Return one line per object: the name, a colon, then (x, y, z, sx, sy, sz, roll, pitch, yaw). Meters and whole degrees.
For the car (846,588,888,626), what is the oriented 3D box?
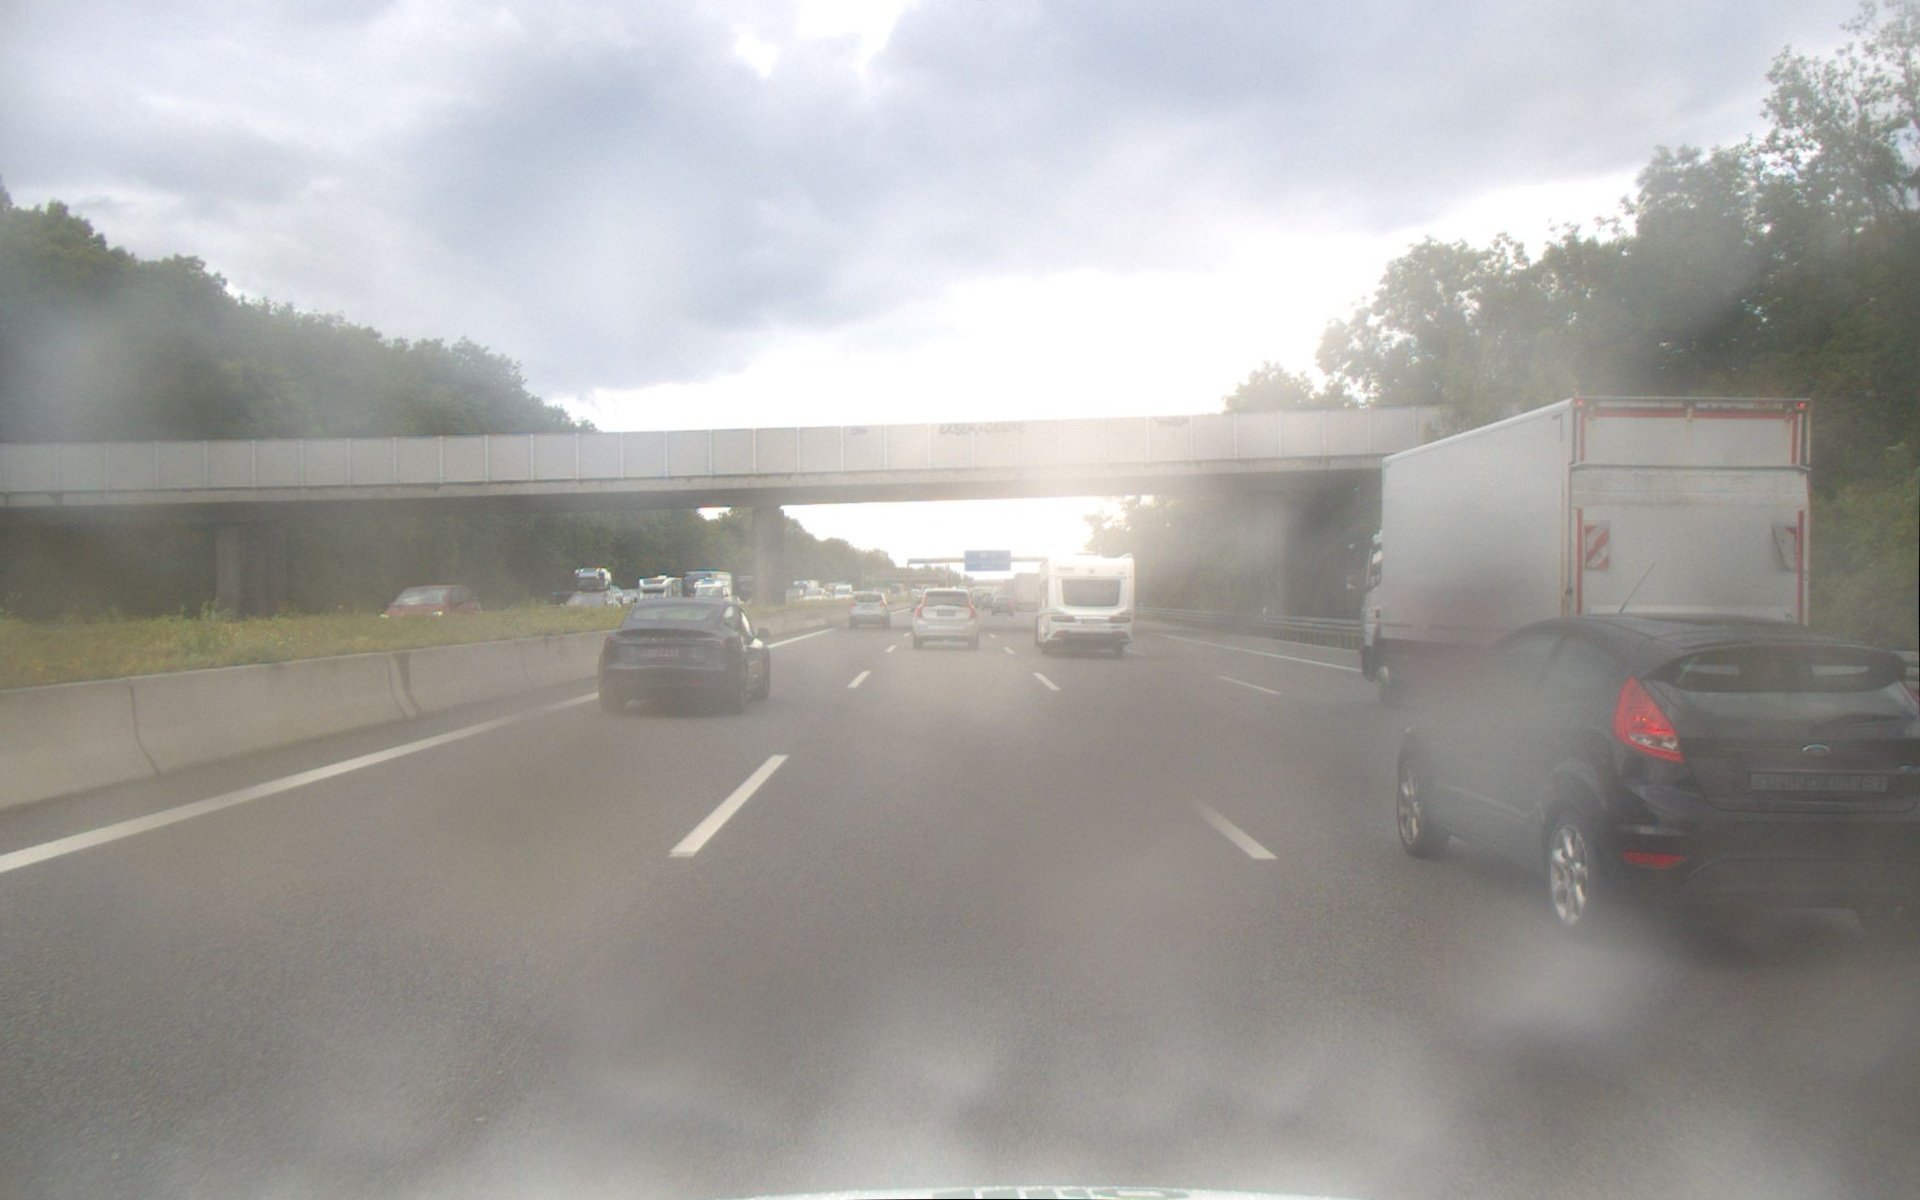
car: (-4.334, 0.291, 77.831, 1.778, 1.719, 4.851, 0, 1, -1)

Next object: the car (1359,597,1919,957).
car: (3.603, 0.718, 8.849, 1.846, 1.431, 4.281, 0, 0, -1)

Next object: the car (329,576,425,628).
car: (-23.416, 0.064, 66.634, 2.175, 1.986, 4.827, 0, 0, -1)

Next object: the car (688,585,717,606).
car: (-25.292, -0.429, 162.401, 2.175, 1.986, 4.827, 0, 0, -1)

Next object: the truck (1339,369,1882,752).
truck: (7.593, -0.414, 21.350, 3.069, 3.774, 9.846, 0, 0, 0)

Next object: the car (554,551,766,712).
car: (-3.775, 0.351, 21.752, 1.953, 1.852, 5.161, 0, 0, -2)

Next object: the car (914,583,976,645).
car: (-0.437, 0.399, 49.138, 1.744, 1.746, 4.352, 0, 0, -1)

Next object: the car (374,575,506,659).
car: (-13.501, 0.410, 43.248, 2.002, 2.049, 4.787, 0, 0, -1)

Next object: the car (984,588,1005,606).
car: (3.686, -0.330, 177.297, 2.002, 1.855, 4.903, 0, 0, -1)

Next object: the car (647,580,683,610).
car: (-20.776, -0.349, 116.650, 1.953, 2.049, 3.998, 0, 0, -2)

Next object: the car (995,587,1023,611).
car: (3.922, -0.095, 133.842, 2.002, 1.855, 4.903, 0, 0, -1)

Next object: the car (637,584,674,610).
car: (-24.532, -0.259, 133.426, 2.175, 1.986, 4.827, 0, 0, -1)

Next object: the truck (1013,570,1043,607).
truck: (7.303, -1.201, 178.039, 2.847, 3.876, 7.272, 0, 0, -1)

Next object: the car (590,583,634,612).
car: (-24.828, -0.184, 118.009, 2.175, 1.986, 4.827, 0, 0, -1)

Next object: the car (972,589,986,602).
car: (2.754, -0.674, 244.458, 2.001, 1.855, 4.904, 0, 0, 0)

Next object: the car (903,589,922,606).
car: (-4.354, -0.258, 152.718, 1.745, 1.507, 4.351, 0, 0, -1)

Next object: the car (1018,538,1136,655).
car: (3.096, -0.111, 45.589, 2.515, 2.946, 7.531, 0, 0, -2)
